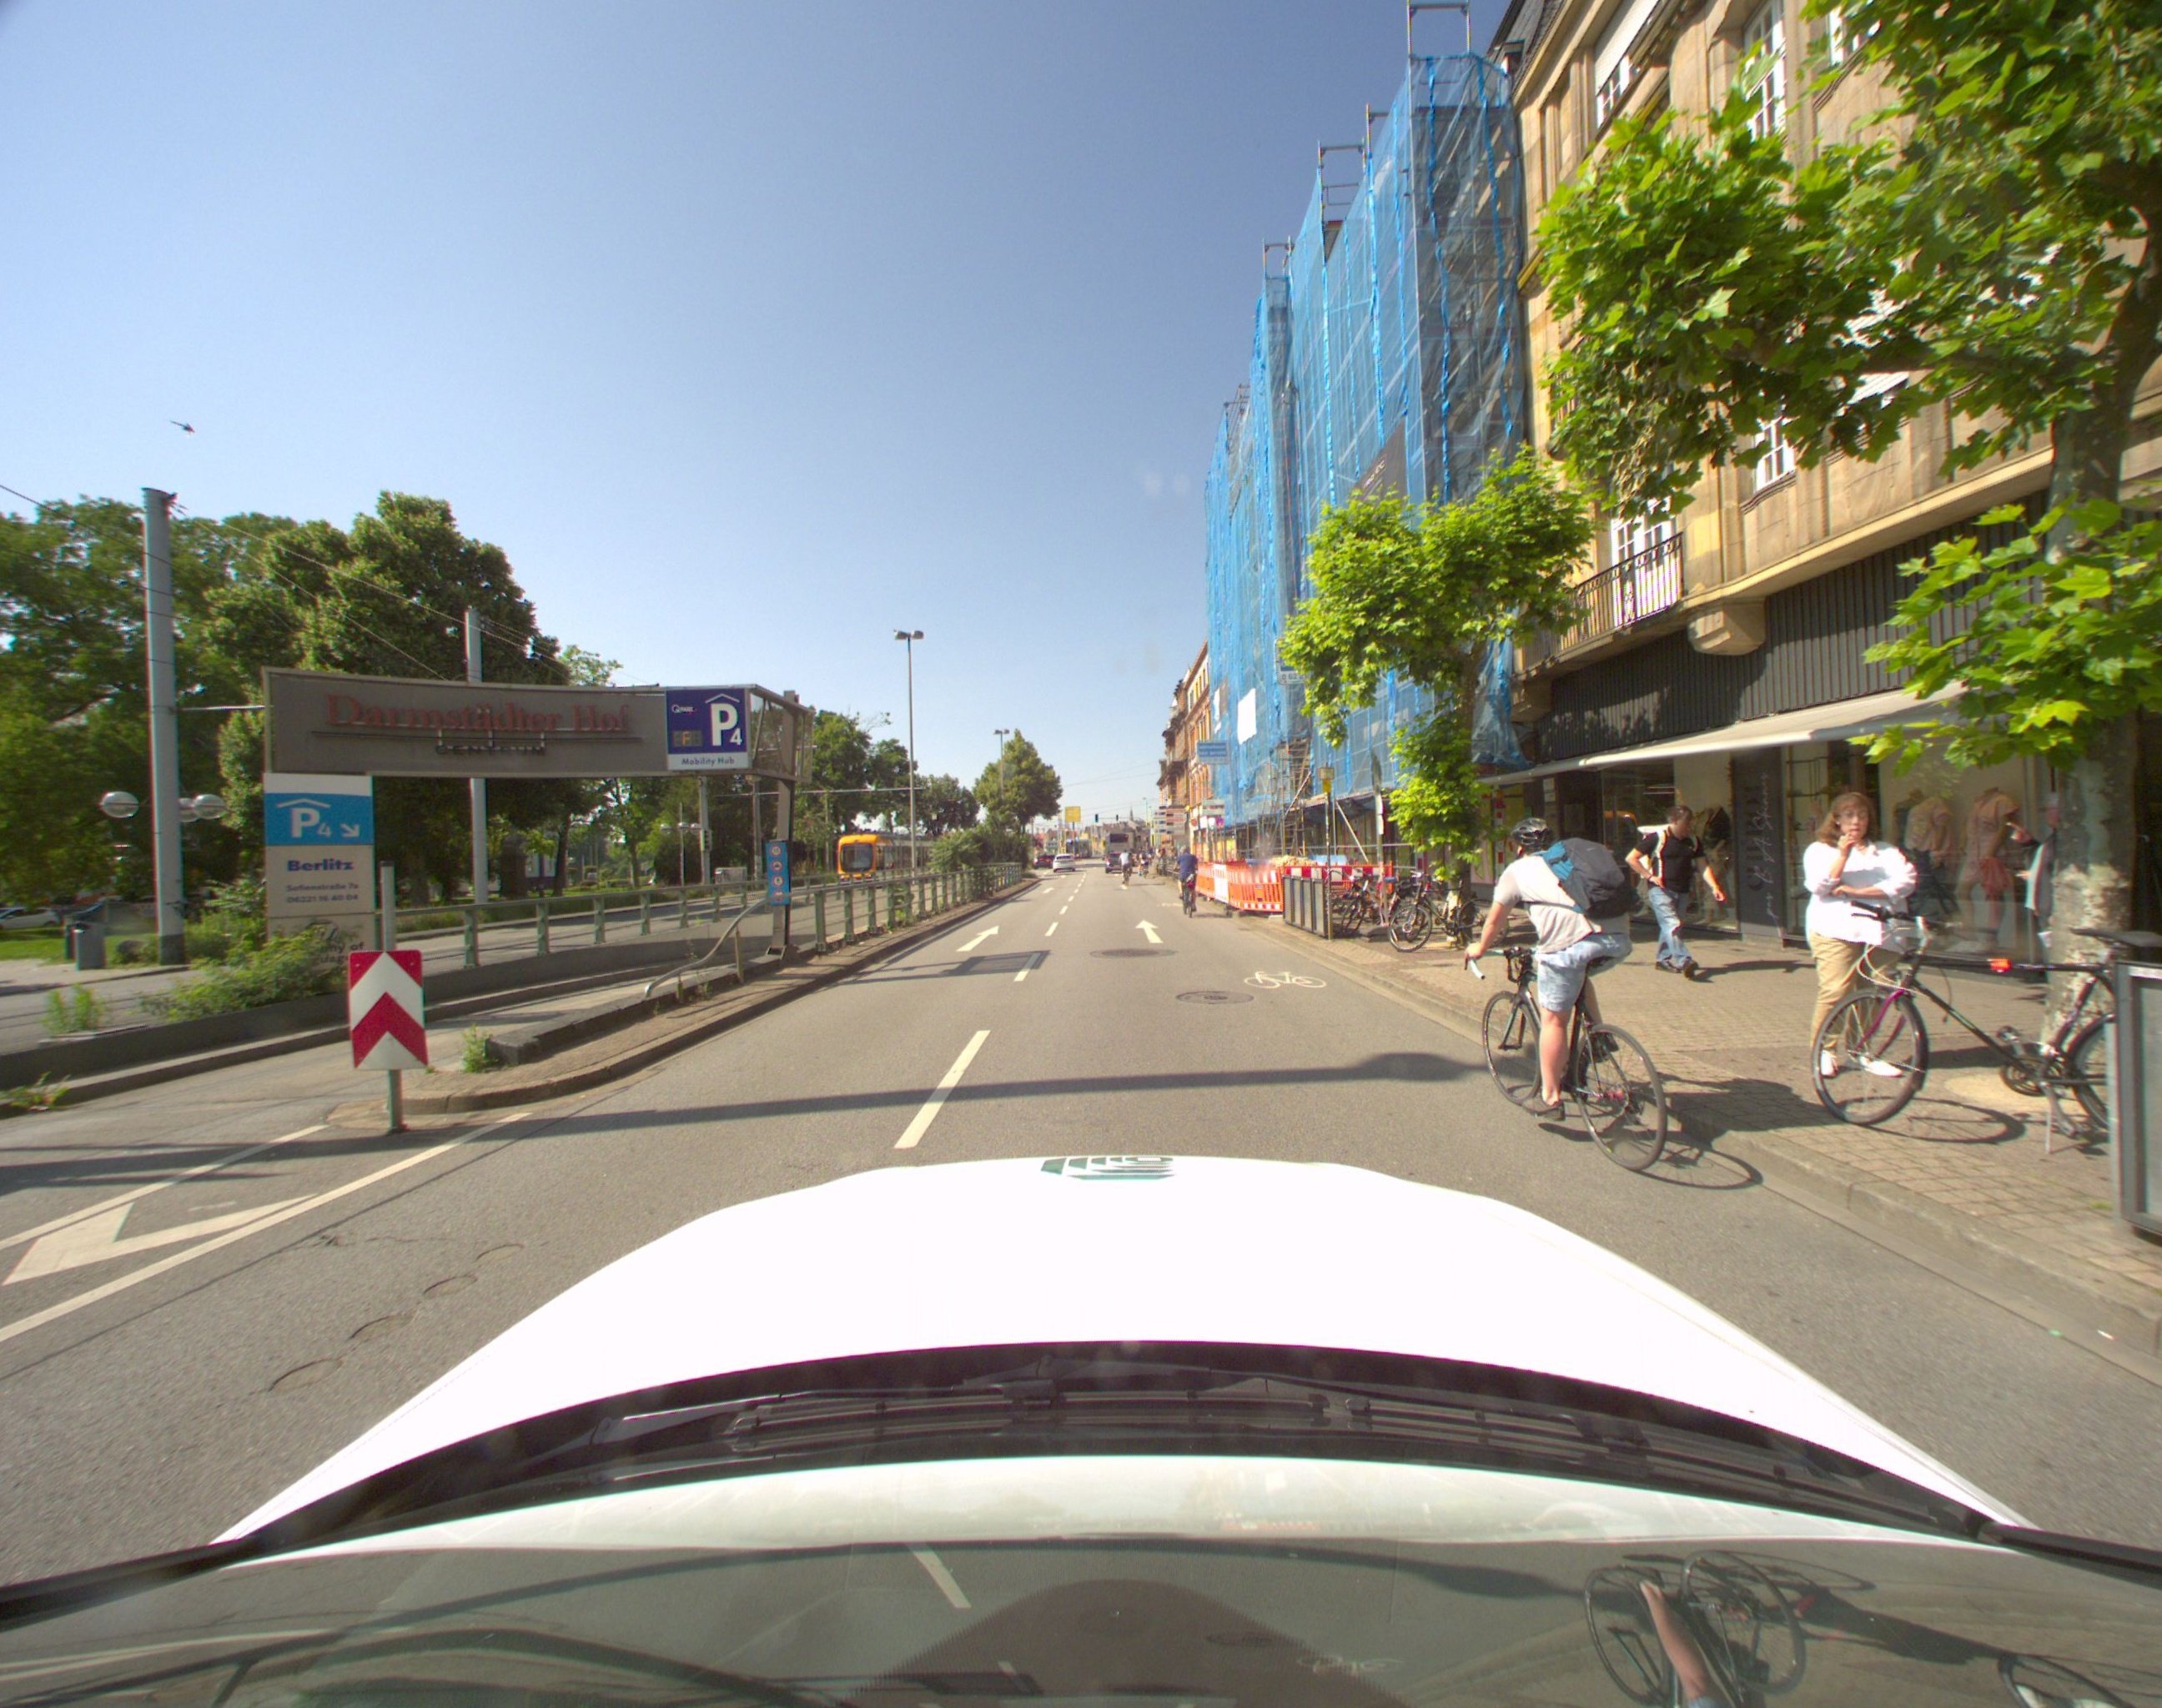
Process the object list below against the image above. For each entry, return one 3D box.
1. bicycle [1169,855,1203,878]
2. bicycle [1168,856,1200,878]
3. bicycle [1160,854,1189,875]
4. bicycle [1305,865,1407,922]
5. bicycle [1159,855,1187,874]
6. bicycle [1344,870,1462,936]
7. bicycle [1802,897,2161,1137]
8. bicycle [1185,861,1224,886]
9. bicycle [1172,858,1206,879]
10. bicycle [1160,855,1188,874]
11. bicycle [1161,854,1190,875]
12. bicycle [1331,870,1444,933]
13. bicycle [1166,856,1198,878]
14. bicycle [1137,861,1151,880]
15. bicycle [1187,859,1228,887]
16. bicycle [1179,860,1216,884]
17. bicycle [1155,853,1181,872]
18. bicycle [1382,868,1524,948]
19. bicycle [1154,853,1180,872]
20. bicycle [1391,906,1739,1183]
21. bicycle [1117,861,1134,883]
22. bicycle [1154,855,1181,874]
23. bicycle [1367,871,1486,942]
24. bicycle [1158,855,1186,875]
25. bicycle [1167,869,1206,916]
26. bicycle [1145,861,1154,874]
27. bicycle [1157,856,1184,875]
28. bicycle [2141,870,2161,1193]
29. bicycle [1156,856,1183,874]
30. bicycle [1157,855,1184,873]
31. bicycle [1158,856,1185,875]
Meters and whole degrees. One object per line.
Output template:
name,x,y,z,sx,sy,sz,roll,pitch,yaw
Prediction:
bicycle,5.597,0.671,43.540,1.764,1.179,0.609,-1,-1,1
bicycle,5.600,0.714,44.507,1.687,1.179,0.609,-1,-1,2
bicycle,5.587,0.627,48.720,1.687,1.179,0.497,-1,-1,1
bicycle,5.186,0.746,15.388,1.747,1.018,0.482,-1,-1,-1
bicycle,5.613,0.640,49.827,1.687,1.179,0.451,-1,-1,1
bicycle,5.293,0.797,13.439,1.747,1.018,0.482,-1,-1,-1
bicycle,4.734,0.735,3.929,1.737,1.018,0.661,-2,-1,24
bicycle,5.536,0.886,36.632,1.687,1.097,0.609,-1,-1,2
bicycle,5.586,0.739,42.278,1.687,1.087,0.609,-1,-1,2
bicycle,5.629,0.634,49.285,1.687,1.179,0.491,-1,-1,1
bicycle,5.583,0.603,48.109,1.687,1.241,0.609,-1,-1,2
bicycle,5.240,0.805,13.972,1.747,1.018,0.482,-1,-1,-1
bicycle,5.614,0.725,45.229,1.687,1.179,0.609,-1,-1,2
bicycle,3.781,0.964,48.695,0.731,1.093,1.898,0,1,1
bicycle,5.469,0.834,35.211,1.687,1.179,0.609,-1,-1,2
bicycle,5.691,0.875,39.725,1.732,1.109,0.609,-1,-1,2
bicycle,5.782,0.582,54.261,1.687,1.178,0.609,-2,0,1
bicycle,5.242,0.753,11.514,1.747,1.018,0.482,-3,-1,-1
bicycle,5.853,0.577,55.547,1.687,1.178,0.609,-2,0,1
bicycle,2.530,0.904,4.643,0.731,1.093,2.130,0,-1,0
bicycle,2.205,0.873,40.169,0.731,1.093,1.897,0,-1,0
bicycle,5.820,0.728,54.915,1.687,1.178,0.609,-4,0,1
bicycle,5.360,0.797,12.644,1.755,1.018,0.480,-1,-1,-15
bicycle,5.642,0.686,50.381,1.687,1.179,0.463,-1,-1,1
bicycle,2.636,0.948,20.533,0.731,1.093,1.911,0,-1,0
bicycle,6.189,1.217,73.785,0.731,1.093,1.899,0,-1,2
bicycle,5.712,0.729,52.061,1.687,1.179,0.459,-1,-1,1
bicycle,4.821,0.634,2.745,1.747,1.181,0.579,-1,-1,-1
bicycle,5.704,0.719,52.594,1.687,1.179,0.460,-1,-1,1
bicycle,5.888,0.678,53.662,1.687,1.179,0.470,0,-1,1
bicycle,5.652,0.697,50.936,1.687,1.179,0.457,-1,-1,1
